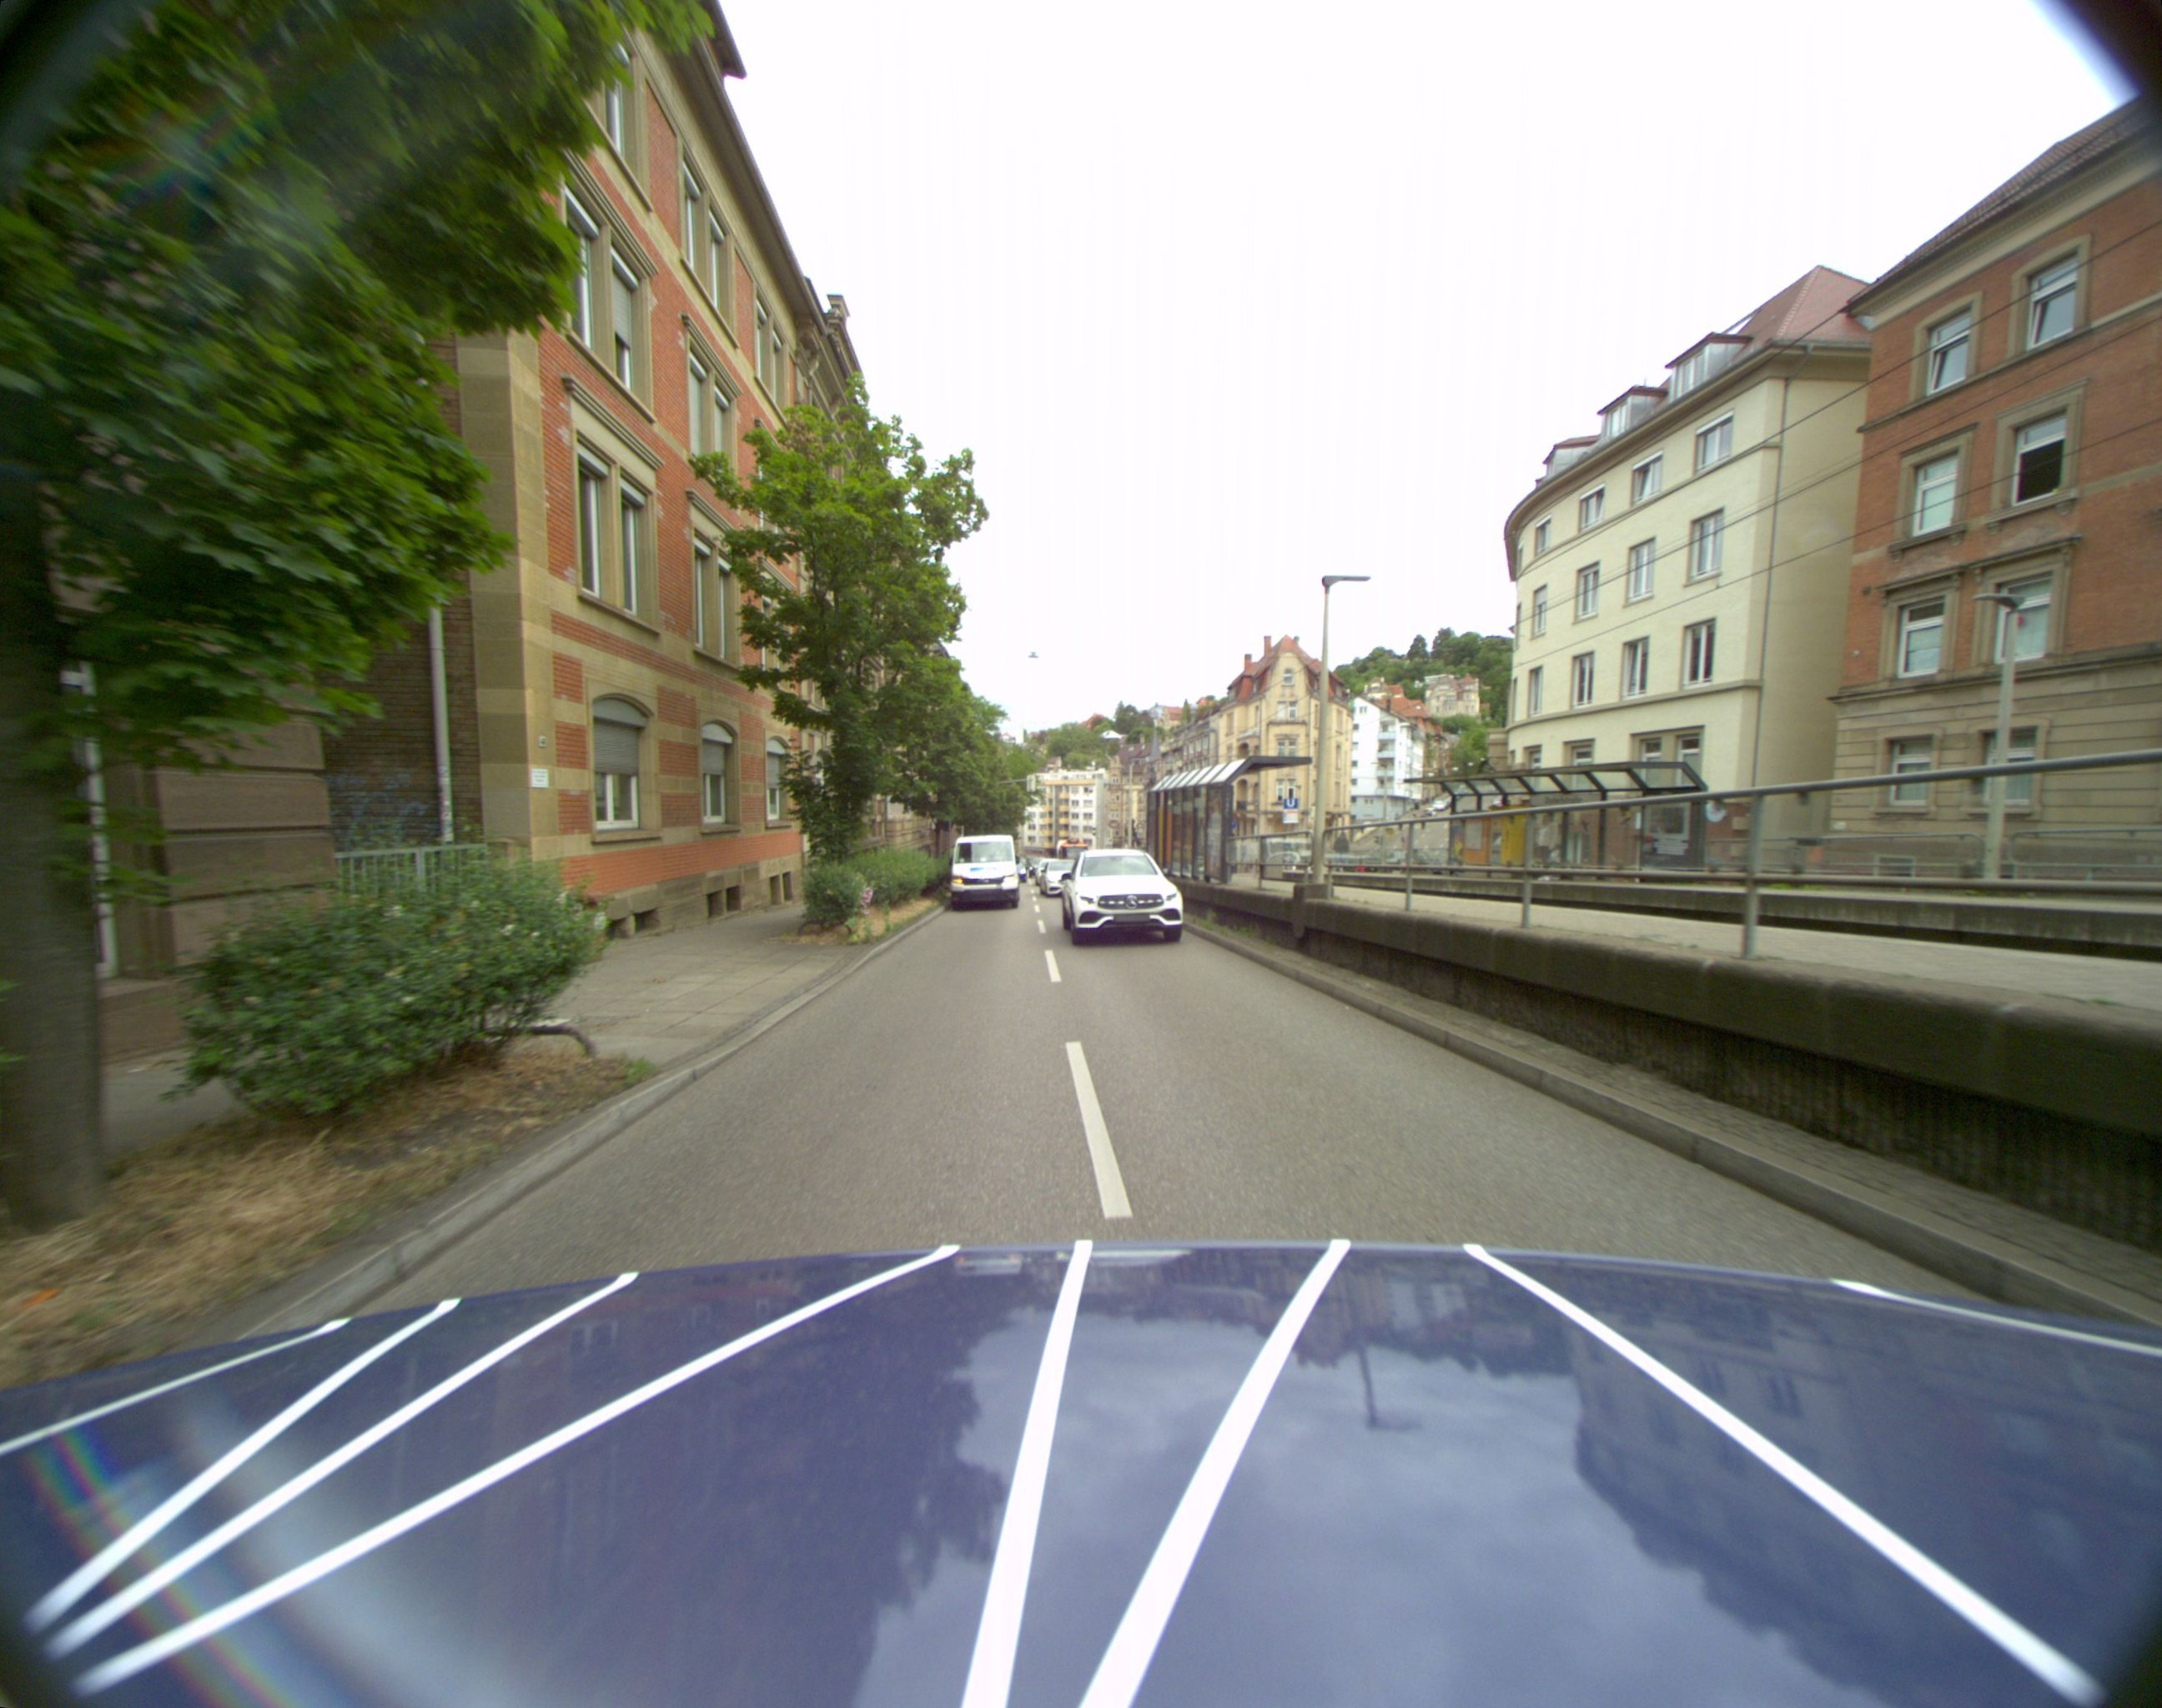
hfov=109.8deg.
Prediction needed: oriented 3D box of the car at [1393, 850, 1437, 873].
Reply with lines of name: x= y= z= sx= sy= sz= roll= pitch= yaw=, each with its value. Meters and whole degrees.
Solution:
car: x=26.471 y=0.581 z=60.076 sx=1.846 sy=1.723 sz=4.390 roll=0 pitch=0 yaw=43

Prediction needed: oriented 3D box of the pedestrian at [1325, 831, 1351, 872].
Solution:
pedestrian: x=10.649 y=-0.090 z=31.472 sx=0.767 sy=1.678 sz=0.843 roll=0 pitch=0 yaw=-4

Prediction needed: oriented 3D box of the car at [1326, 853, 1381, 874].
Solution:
car: x=22.422 y=0.787 z=62.500 sx=4.006 sy=1.700 sz=1.996 roll=0 pitch=0 yaw=-27

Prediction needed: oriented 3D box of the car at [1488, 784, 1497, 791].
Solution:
car: x=92.749 y=-14.998 z=171.085 sx=1.643 sy=1.453 sz=3.312 roll=0 pitch=7 yaw=30

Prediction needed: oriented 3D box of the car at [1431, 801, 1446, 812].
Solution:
car: x=60.107 y=-8.015 z=127.881 sx=1.938 sy=1.630 sz=4.004 roll=0 pitch=7 yaw=30

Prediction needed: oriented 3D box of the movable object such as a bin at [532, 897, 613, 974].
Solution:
movable object such as a bin: x=-6.520 y=1.035 z=9.759 sx=0.672 sy=0.937 sz=0.539 roll=0 pitch=1 yaw=-1

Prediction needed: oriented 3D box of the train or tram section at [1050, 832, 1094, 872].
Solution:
train or tram section: x=-1.057 y=-0.115 z=72.826 sx=2.969 sy=3.456 sz=14.401 roll=0 pitch=0 yaw=-6

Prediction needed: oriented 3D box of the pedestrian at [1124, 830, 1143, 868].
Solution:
pedestrian: x=2.374 y=-0.220 z=34.213 sx=0.767 sy=1.705 sz=0.766 roll=0 pitch=0 yaw=-4

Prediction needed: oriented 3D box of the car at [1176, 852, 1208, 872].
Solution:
car: x=9.630 y=0.682 z=66.120 sx=1.851 sy=1.723 sz=4.378 roll=0 pitch=0 yaw=-5

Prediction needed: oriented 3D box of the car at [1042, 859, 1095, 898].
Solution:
car: x=-0.546 y=0.918 z=29.920 sx=1.807 sy=1.391 sz=3.998 roll=-1 pitch=0 yaw=-5

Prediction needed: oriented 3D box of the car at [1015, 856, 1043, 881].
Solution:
car: x=-3.319 y=0.900 z=48.663 sx=1.695 sy=1.466 sz=3.855 roll=0 pitch=0 yaw=-4

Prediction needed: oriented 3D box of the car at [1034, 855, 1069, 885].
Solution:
car: x=-1.695 y=0.861 z=42.592 sx=1.807 sy=1.542 sz=3.998 roll=-1 pitch=0 yaw=-4

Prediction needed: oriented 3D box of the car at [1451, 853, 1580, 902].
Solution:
car: x=15.666 y=0.778 z=27.722 sx=1.868 sy=1.636 sz=4.412 roll=0 pitch=0 yaw=-5

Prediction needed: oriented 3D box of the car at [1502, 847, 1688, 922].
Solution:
car: x=14.236 y=0.766 z=21.437 sx=1.999 sy=1.884 sz=4.412 roll=0 pitch=0 yaw=-5

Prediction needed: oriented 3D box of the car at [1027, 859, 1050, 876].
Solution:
car: x=-3.494 y=1.095 z=62.381 sx=1.563 sy=1.330 sz=3.997 roll=0 pitch=0 yaw=-8

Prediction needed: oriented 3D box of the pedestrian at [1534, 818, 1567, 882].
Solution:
pedestrian: x=11.602 y=-0.107 z=18.793 sx=0.463 sy=1.553 sz=0.540 roll=0 pitch=1 yaw=-5

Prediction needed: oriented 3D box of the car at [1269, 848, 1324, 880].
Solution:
car: x=12.469 y=0.571 z=44.220 sx=1.828 sy=1.754 sz=3.862 roll=0 pitch=0 yaw=-5

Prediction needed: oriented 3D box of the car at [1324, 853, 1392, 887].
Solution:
car: x=15.066 y=0.829 z=41.566 sx=1.851 sy=1.723 sz=4.378 roll=0 pitch=0 yaw=-5

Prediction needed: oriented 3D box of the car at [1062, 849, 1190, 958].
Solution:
car: x=0.667 y=0.767 z=14.479 sx=1.841 sy=1.657 sz=4.668 roll=-2 pitch=1 yaw=-4

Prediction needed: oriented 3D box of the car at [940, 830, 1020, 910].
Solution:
car: x=-3.175 y=0.470 z=25.156 sx=2.264 sy=2.274 sz=5.965 roll=-1 pitch=0 yaw=-4
